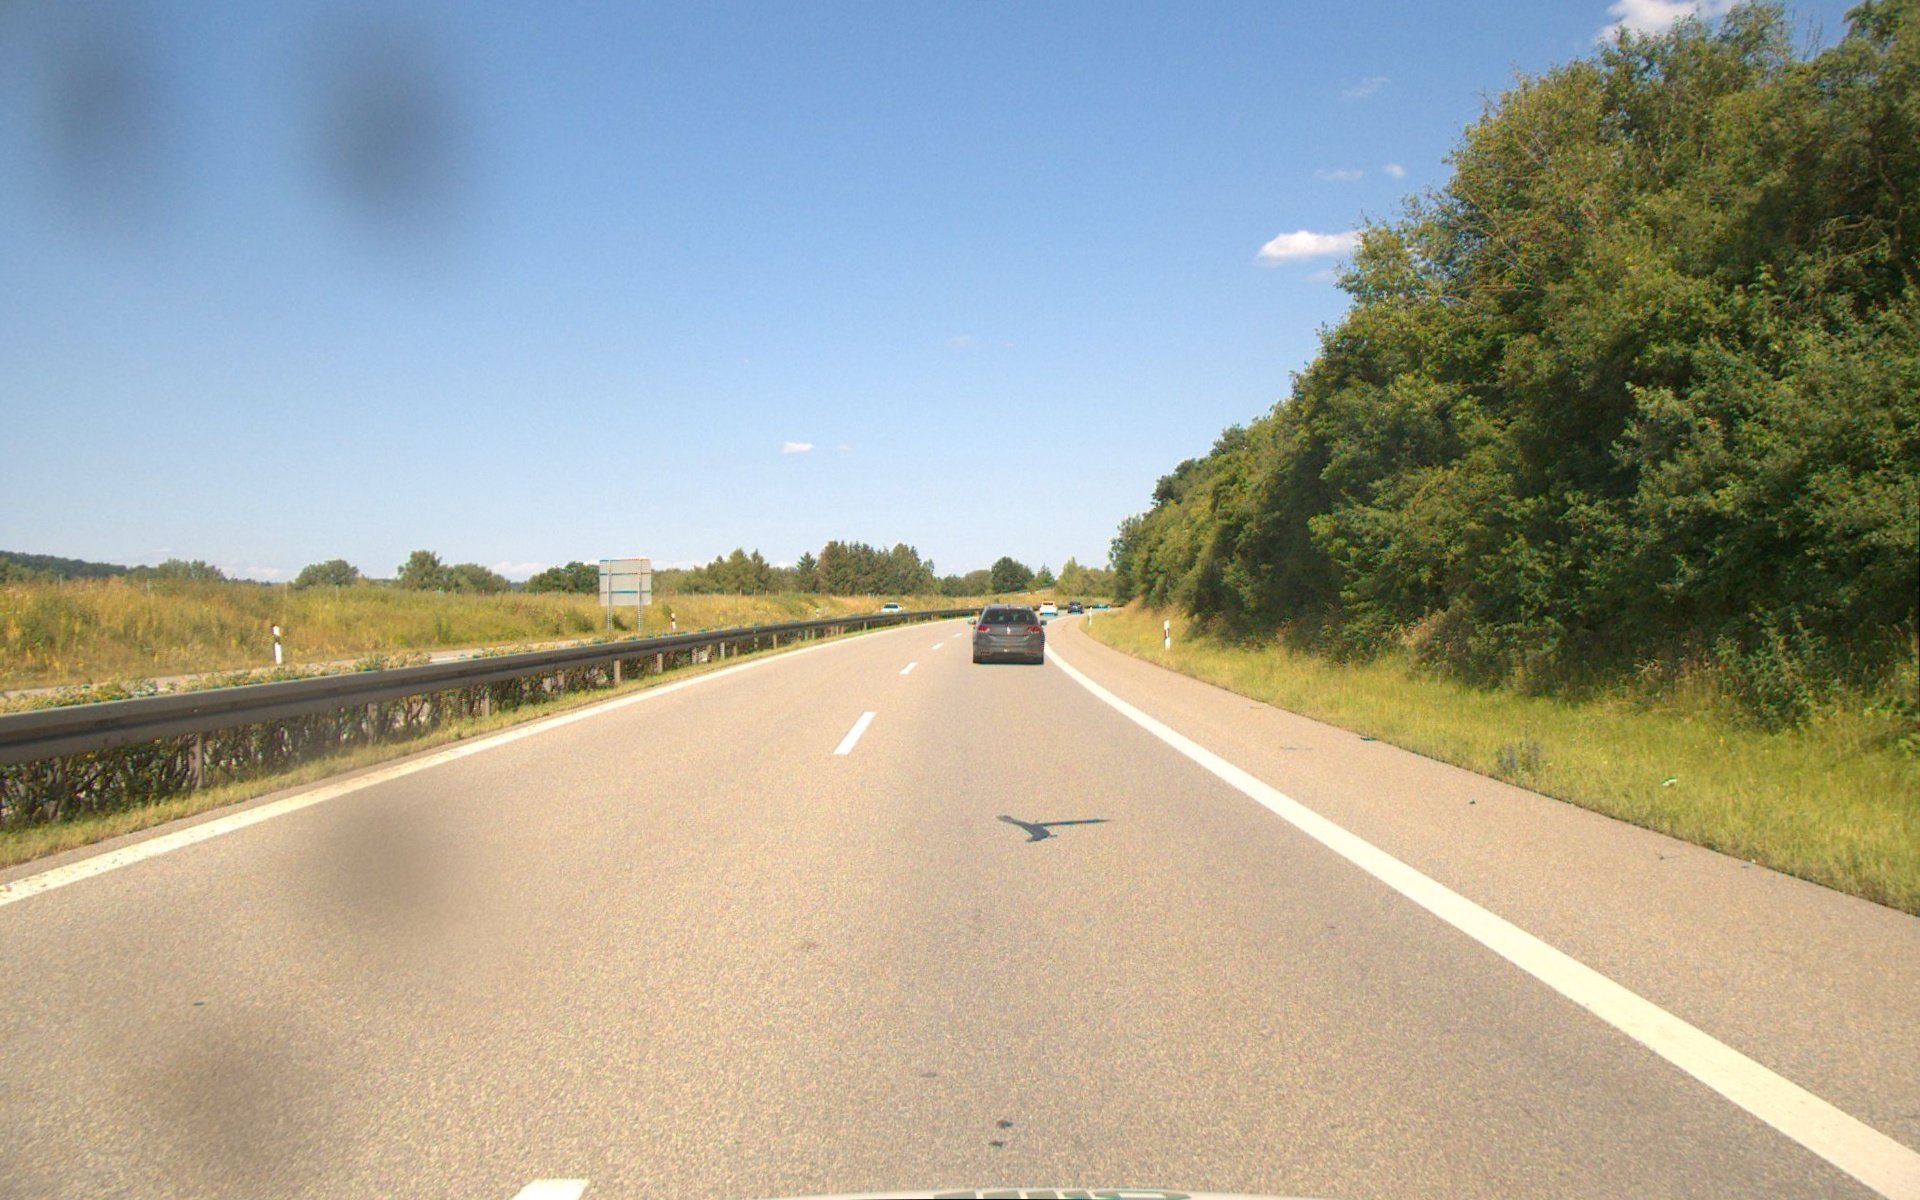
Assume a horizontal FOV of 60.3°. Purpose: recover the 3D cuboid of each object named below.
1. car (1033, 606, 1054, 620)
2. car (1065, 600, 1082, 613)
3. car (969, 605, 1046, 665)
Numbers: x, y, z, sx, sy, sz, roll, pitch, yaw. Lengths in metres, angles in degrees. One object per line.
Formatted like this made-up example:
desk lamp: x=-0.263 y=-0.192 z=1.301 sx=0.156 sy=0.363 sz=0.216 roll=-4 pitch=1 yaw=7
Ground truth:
car: x=8.648 y=1.387 z=171.647 sx=1.965 sy=1.368 sz=4.000 roll=2 pitch=-1 yaw=1
car: x=13.905 y=0.791 z=202.288 sx=1.674 sy=1.411 sz=3.358 roll=2 pitch=-1 yaw=10
car: x=1.139 y=0.849 z=41.081 sx=1.754 sy=1.368 sz=3.999 roll=1 pitch=-1 yaw=0
